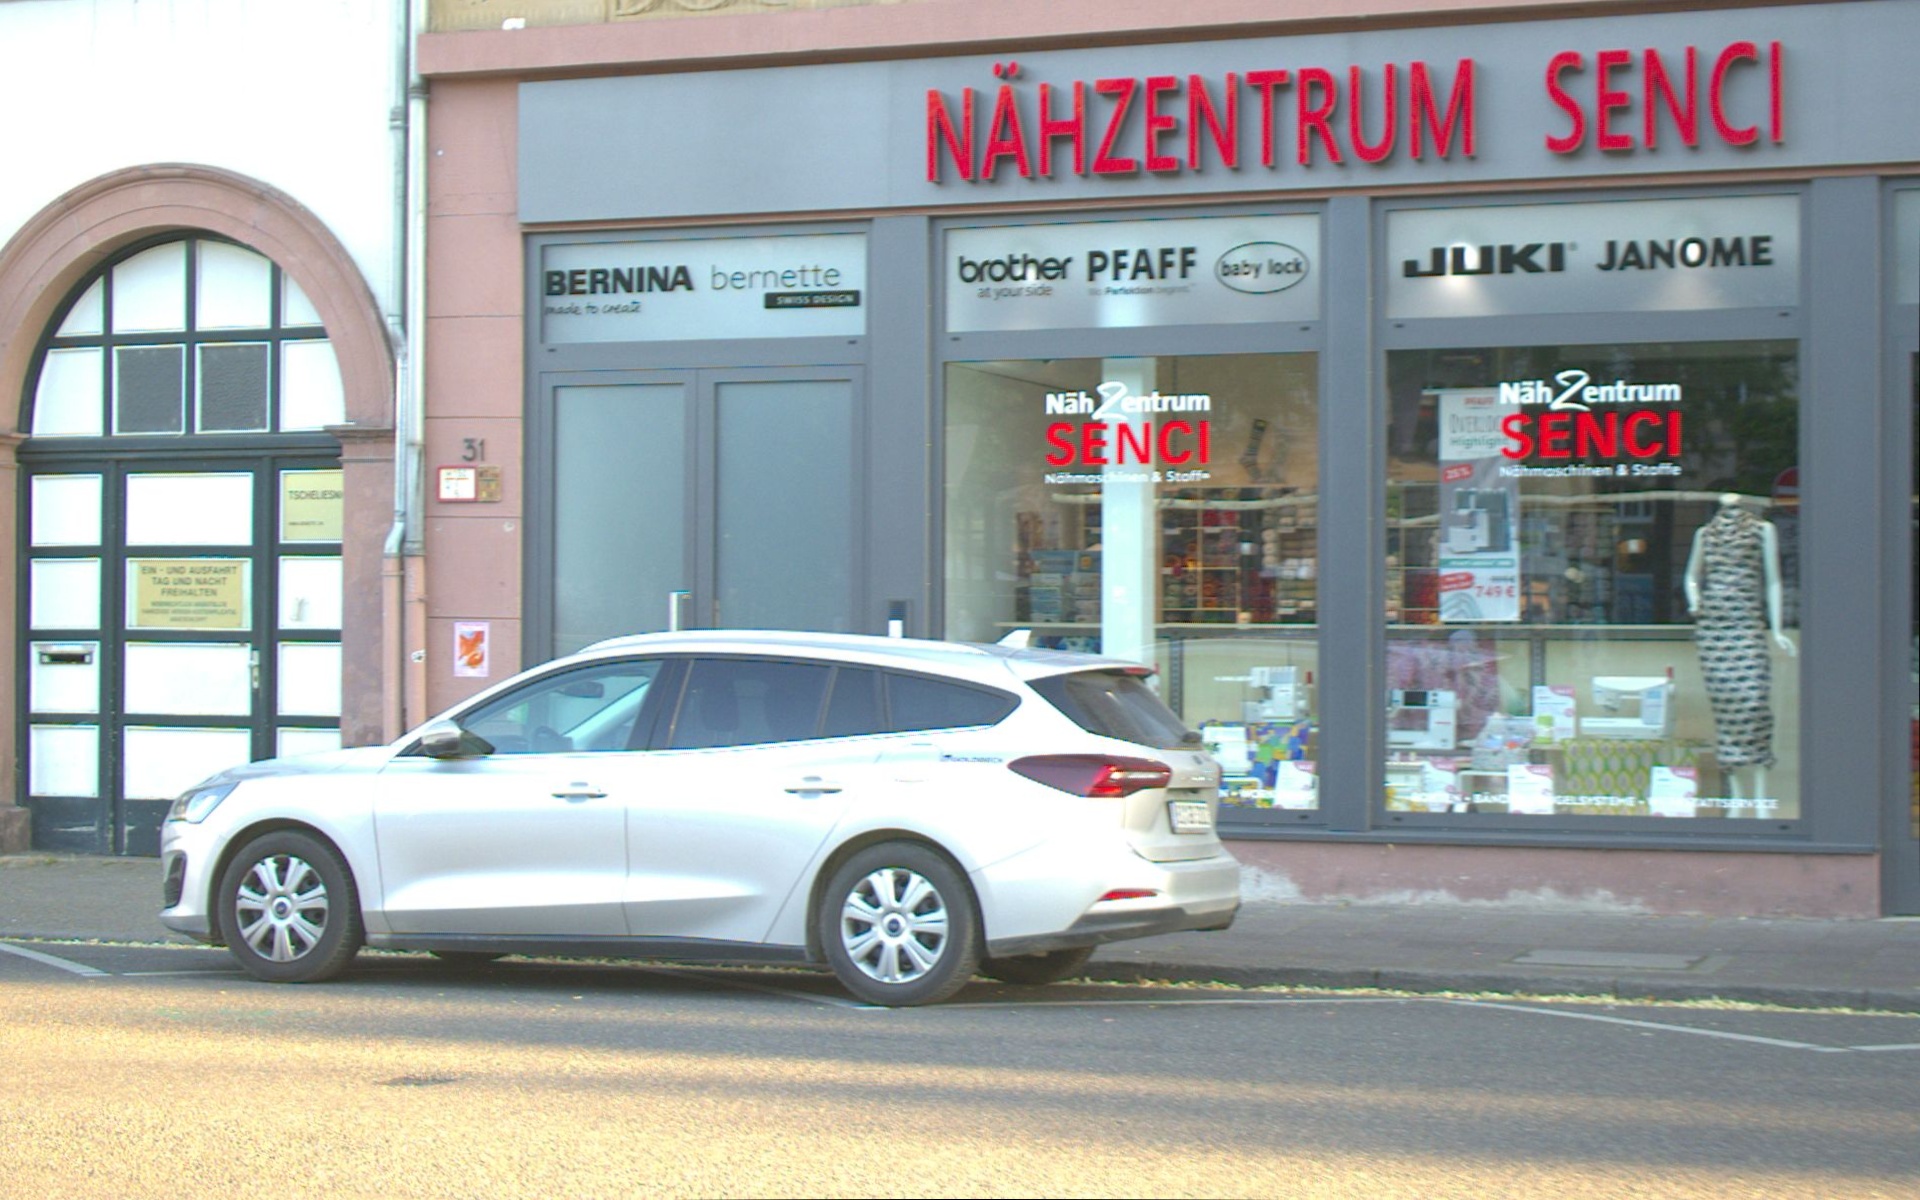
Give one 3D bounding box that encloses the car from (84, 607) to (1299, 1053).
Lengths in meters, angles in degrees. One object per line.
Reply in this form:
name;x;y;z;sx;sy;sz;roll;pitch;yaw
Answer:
car;-1.107;0.869;14.522;4.671;1.530;1.998;2;0;20
